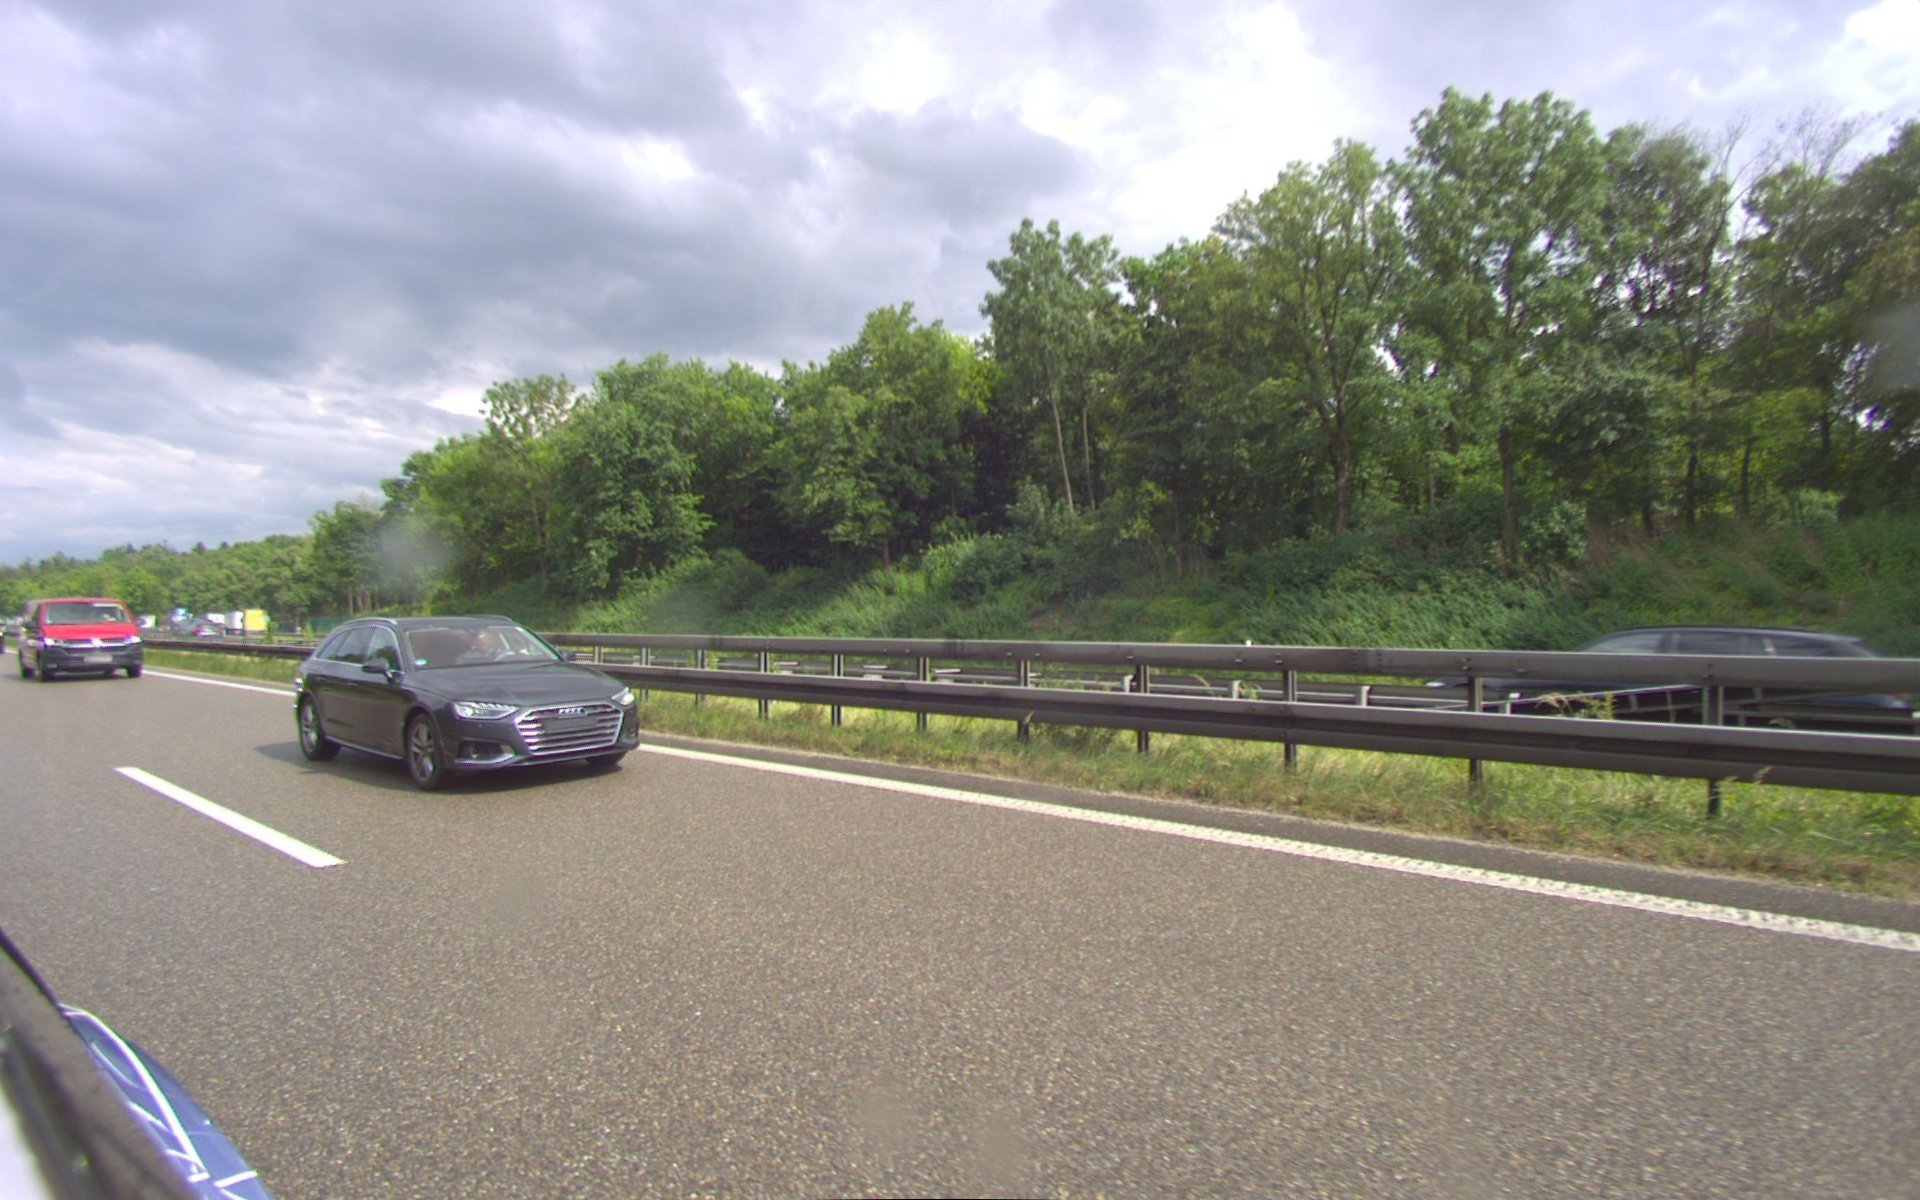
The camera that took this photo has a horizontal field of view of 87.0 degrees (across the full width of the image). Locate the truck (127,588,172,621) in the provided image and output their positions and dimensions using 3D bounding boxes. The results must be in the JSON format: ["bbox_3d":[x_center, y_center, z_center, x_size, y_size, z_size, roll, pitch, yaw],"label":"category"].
[{"bbox_3d":[-121.945,0.720,152.260,11.874,4.756,3.574,-1,0,43],"label":"truck"}]

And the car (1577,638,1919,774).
[{"bbox_3d":[8.794,1.011,10.338,3.999,1.136,1.807,-1,0,42],"label":"car"}]

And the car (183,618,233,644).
[{"bbox_3d":[-49.985,2.043,67.262,4.234,1.675,1.835,-1,0,41],"label":"car"}]

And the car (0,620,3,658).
[{"bbox_3d":[-41.057,1.597,41.716,4.838,1.508,1.983,-1,0,42],"label":"car"}]

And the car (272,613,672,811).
[{"bbox_3d":[-4.888,0.859,9.743,4.838,1.429,1.775,-1,0,42],"label":"car"}]

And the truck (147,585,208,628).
[{"bbox_3d":[-89.169,0.748,115.209,11.874,4.756,3.574,-1,0,43],"label":"truck"}]

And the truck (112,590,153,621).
[{"bbox_3d":[-134.898,0.907,164.879,11.874,4.756,3.574,-1,0,43],"label":"truck"}]

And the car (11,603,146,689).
[{"bbox_3d":[-21.451,1.042,24.551,4.838,1.880,1.901,-1,0,42],"label":"car"}]

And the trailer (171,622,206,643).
[{"bbox_3d":[-64.132,2.670,84.125,3.877,1.675,1.569,-1,0,41],"label":"trailer"}]
